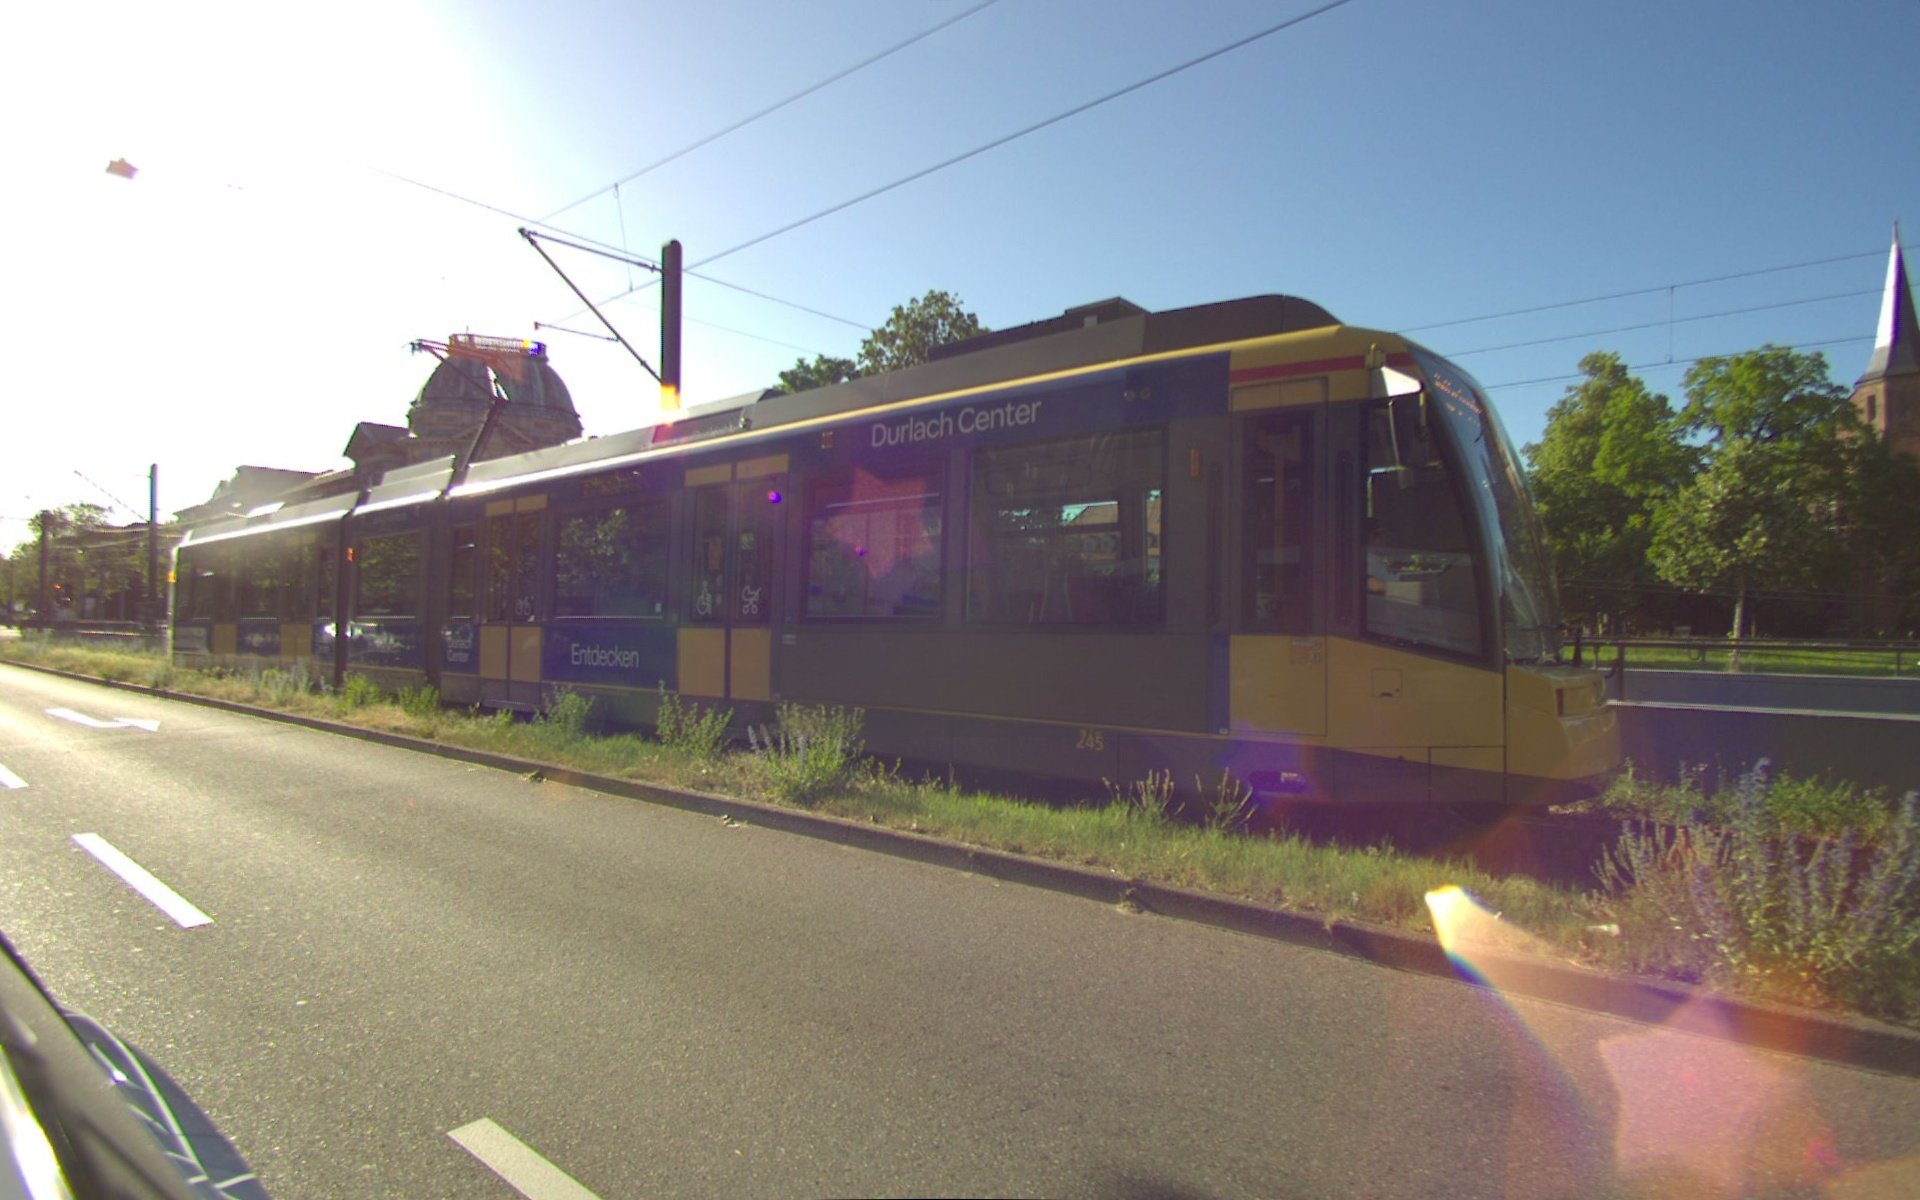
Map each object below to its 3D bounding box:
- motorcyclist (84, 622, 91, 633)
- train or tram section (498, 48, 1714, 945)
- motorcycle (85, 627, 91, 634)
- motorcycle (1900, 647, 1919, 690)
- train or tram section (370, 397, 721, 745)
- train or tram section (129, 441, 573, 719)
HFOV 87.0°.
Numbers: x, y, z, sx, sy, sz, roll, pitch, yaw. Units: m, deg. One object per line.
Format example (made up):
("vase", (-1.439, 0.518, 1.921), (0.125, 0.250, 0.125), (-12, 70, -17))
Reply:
("motorcyclist", (-101.551, 3.158, 117.786), (0.691, 1.267, 0.508), (-1, 0, 45))
("train or tram section", (-0.101, -0.409, 9.028), (10.793, 3.926, 2.923), (-1, 0, 40))
("motorcycle", (-101.483, 3.495, 117.755), (1.522, 0.789, 0.364), (-1, 0, 43))
("motorcycle", (20.639, 1.428, 20.636), (2.144, 0.856, 0.508), (-1, 0, 43))
("train or tram section", (-5.665, -0.326, 13.779), (3.862, 3.926, 2.925), (-1, 0, 40))
("train or tram section", (-12.600, -0.213, 19.667), (14.261, 3.841, 2.899), (-1, 0, 40))
